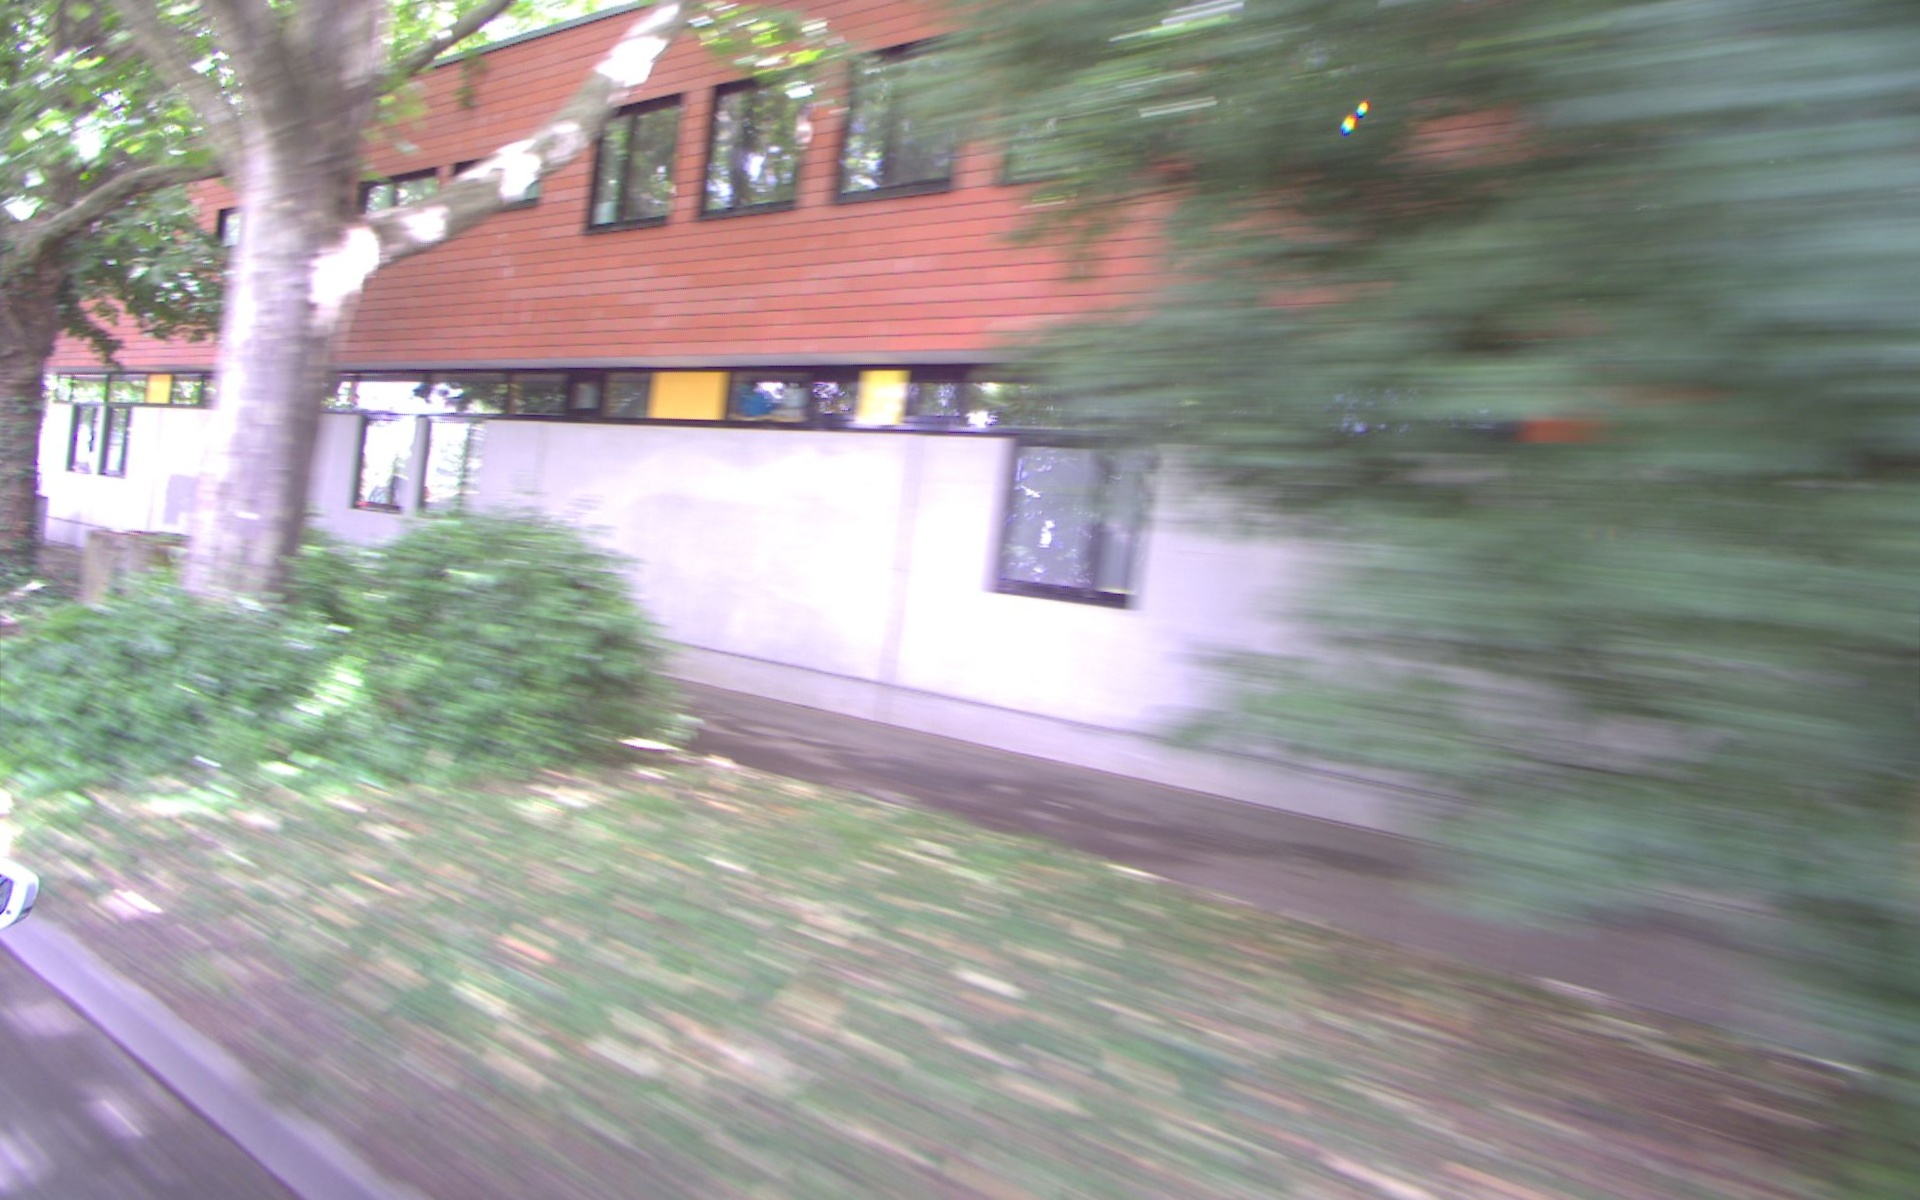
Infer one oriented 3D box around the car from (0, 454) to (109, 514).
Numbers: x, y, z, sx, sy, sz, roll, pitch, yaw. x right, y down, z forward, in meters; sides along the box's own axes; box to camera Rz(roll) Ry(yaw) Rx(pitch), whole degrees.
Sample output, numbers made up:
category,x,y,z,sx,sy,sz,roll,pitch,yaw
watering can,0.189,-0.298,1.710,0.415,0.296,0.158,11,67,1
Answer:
category,x,y,z,sx,sy,sz,roll,pitch,yaw
car,-49.756,-6.306,55.190,2.118,2.393,4.256,7,-1,5
